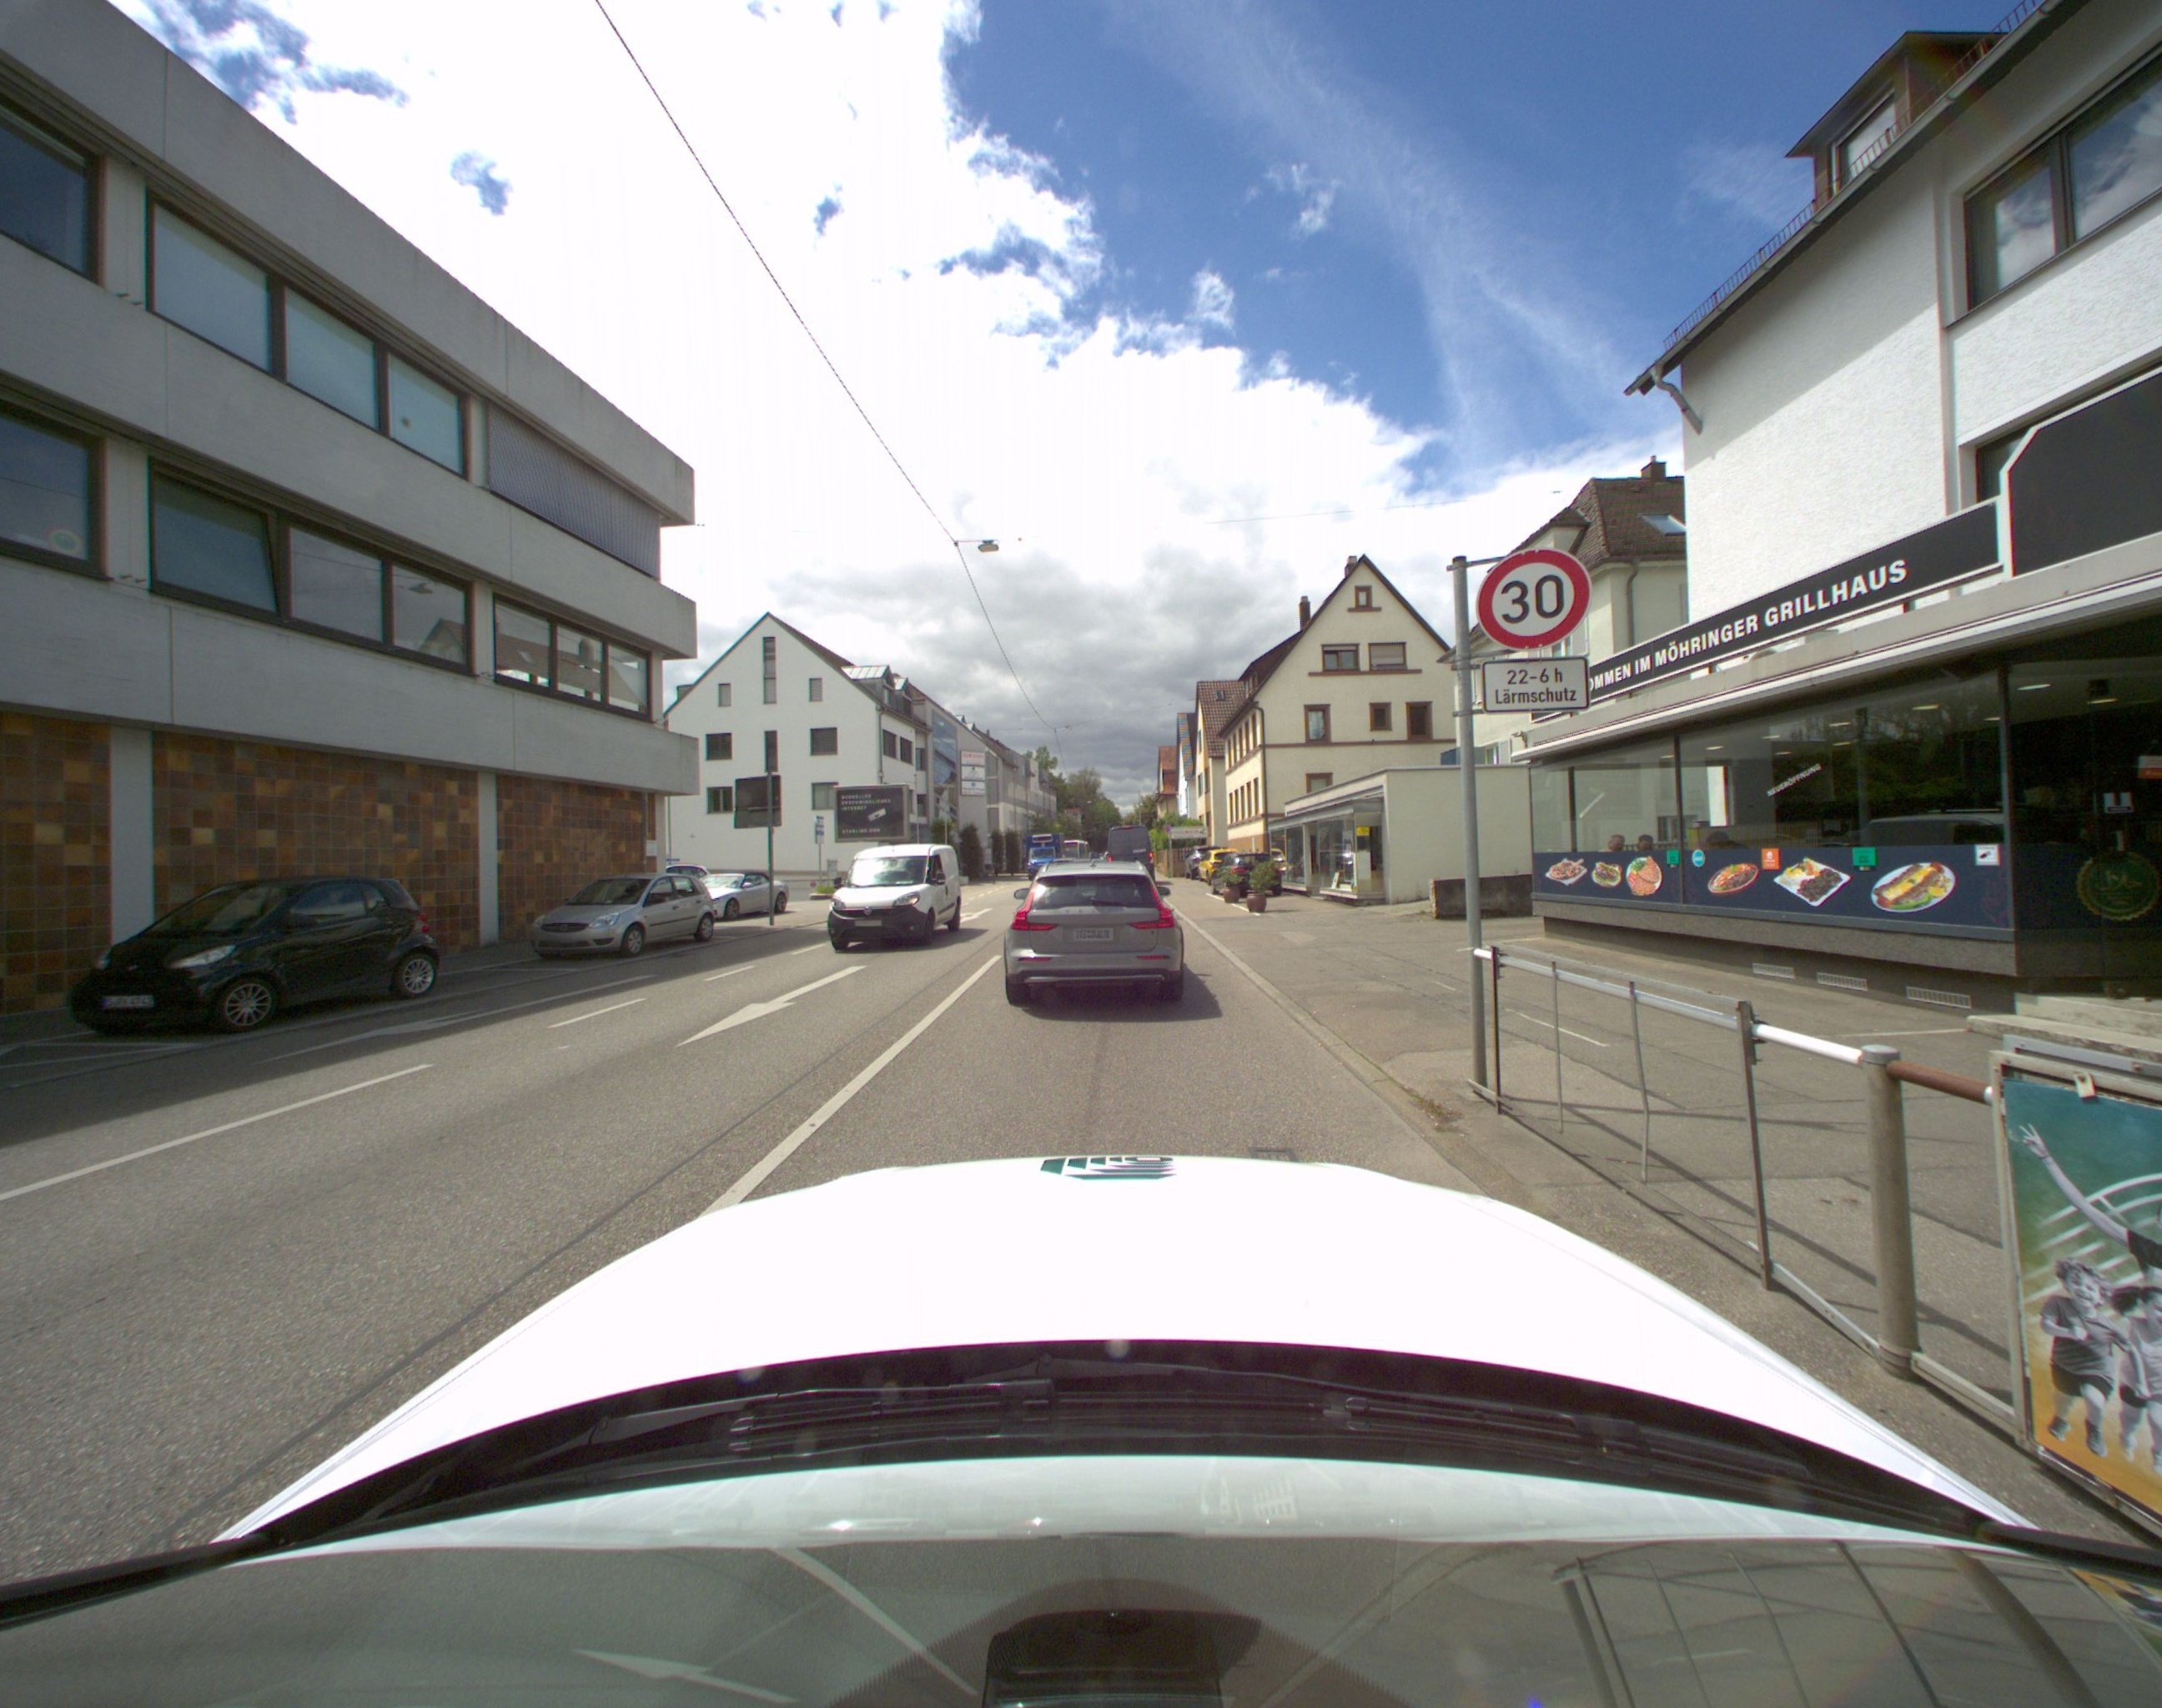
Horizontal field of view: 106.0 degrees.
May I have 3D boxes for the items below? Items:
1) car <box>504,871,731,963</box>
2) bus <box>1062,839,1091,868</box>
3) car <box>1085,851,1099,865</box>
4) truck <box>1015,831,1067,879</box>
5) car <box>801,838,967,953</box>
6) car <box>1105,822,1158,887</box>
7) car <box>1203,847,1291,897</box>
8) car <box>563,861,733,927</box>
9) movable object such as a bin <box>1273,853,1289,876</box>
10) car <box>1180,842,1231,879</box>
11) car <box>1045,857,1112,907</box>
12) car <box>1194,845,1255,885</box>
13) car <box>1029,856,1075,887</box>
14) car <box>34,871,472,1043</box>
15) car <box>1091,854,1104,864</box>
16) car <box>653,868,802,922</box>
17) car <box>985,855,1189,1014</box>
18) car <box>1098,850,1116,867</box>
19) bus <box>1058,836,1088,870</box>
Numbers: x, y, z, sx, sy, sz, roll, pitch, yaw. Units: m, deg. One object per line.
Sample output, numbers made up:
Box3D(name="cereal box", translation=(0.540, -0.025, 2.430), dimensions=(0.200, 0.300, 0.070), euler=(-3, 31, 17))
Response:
Box3D(name="car", translation=(-8.613, 1.093, 15.620), dimensions=(1.714, 1.422, 4.153), euler=(-1, 0, 4))
Box3D(name="bus", translation=(-0.457, -0.062, 93.710), dimensions=(2.705, 3.163, 8.074), euler=(-2, 0, 3))
Box3D(name="car", translation=(1.837, 0.688, 134.330), dimensions=(2.097, 2.121, 4.767), euler=(-2, 0, 2))
Box3D(name="truck", translation=(-2.699, 0.065, 57.738), dimensions=(2.842, 3.093, 8.094), euler=(-2, 0, 3))
Box3D(name="car", translation=(-3.564, 0.683, 15.619), dimensions=(1.938, 1.821, 4.280), euler=(-2, 0, 2))
Box3D(name="car", translation=(2.343, 0.030, 38.677), dimensions=(2.243, 2.795, 5.573), euler=(-2, 0, 2))
Box3D(name="car", translation=(5.384, 0.556, 27.045), dimensions=(1.962, 1.447, 4.535), euler=(-2, 0, 0))
Box3D(name="car", translation=(-13.087, 1.140, 25.050), dimensions=(1.940, 1.619, 4.941), euler=(-4, 0, 9))
Box3D(name="movable object such as a bin", translation=(8.204, 0.413, 33.405), dimensions=(0.498, 0.925, 0.599), euler=(-2, 0, 6))
Box3D(name="car", translation=(6.106, 0.309, 40.335), dimensions=(1.854, 1.612, 4.587), euler=(-3, 0, 2))
Box3D(name="car", translation=(-0.005, 0.838, 26.310), dimensions=(1.888, 1.446, 3.972), euler=(-1, 0, 3))
Box3D(name="car", translation=(6.177, 0.410, 35.540), dimensions=(1.871, 1.447, 4.307), euler=(-2, 2, 0))
Box3D(name="car", translation=(-1.387, 0.850, 41.051), dimensions=(1.888, 1.446, 3.973), euler=(-1, 0, 4))
Box3D(name="car", translation=(-9.053, 1.015, 9.286), dimensions=(1.728, 1.556, 3.061), euler=(-1, 0, 5))
Box3D(name="car", translation=(2.977, 0.906, 145.362), dimensions=(2.097, 1.709, 4.767), euler=(-2, 0, 2))
Box3D(name="car", translation=(-10.487, 1.164, 24.675), dimensions=(1.941, 1.358, 4.864), euler=(-2, 0, 6))
Box3D(name="car", translation=(0.191, 0.761, 9.619), dimensions=(1.888, 1.453, 3.973), euler=(-1, 0, 4))
Box3D(name="car", translation=(3.120, 0.516, 97.440), dimensions=(1.985, 2.013, 4.004), euler=(-1, 0, 4))
Box3D(name="bus", translation=(-0.763, -0.072, 84.615), dimensions=(2.672, 3.163, 10.186), euler=(-2, 0, 1))
